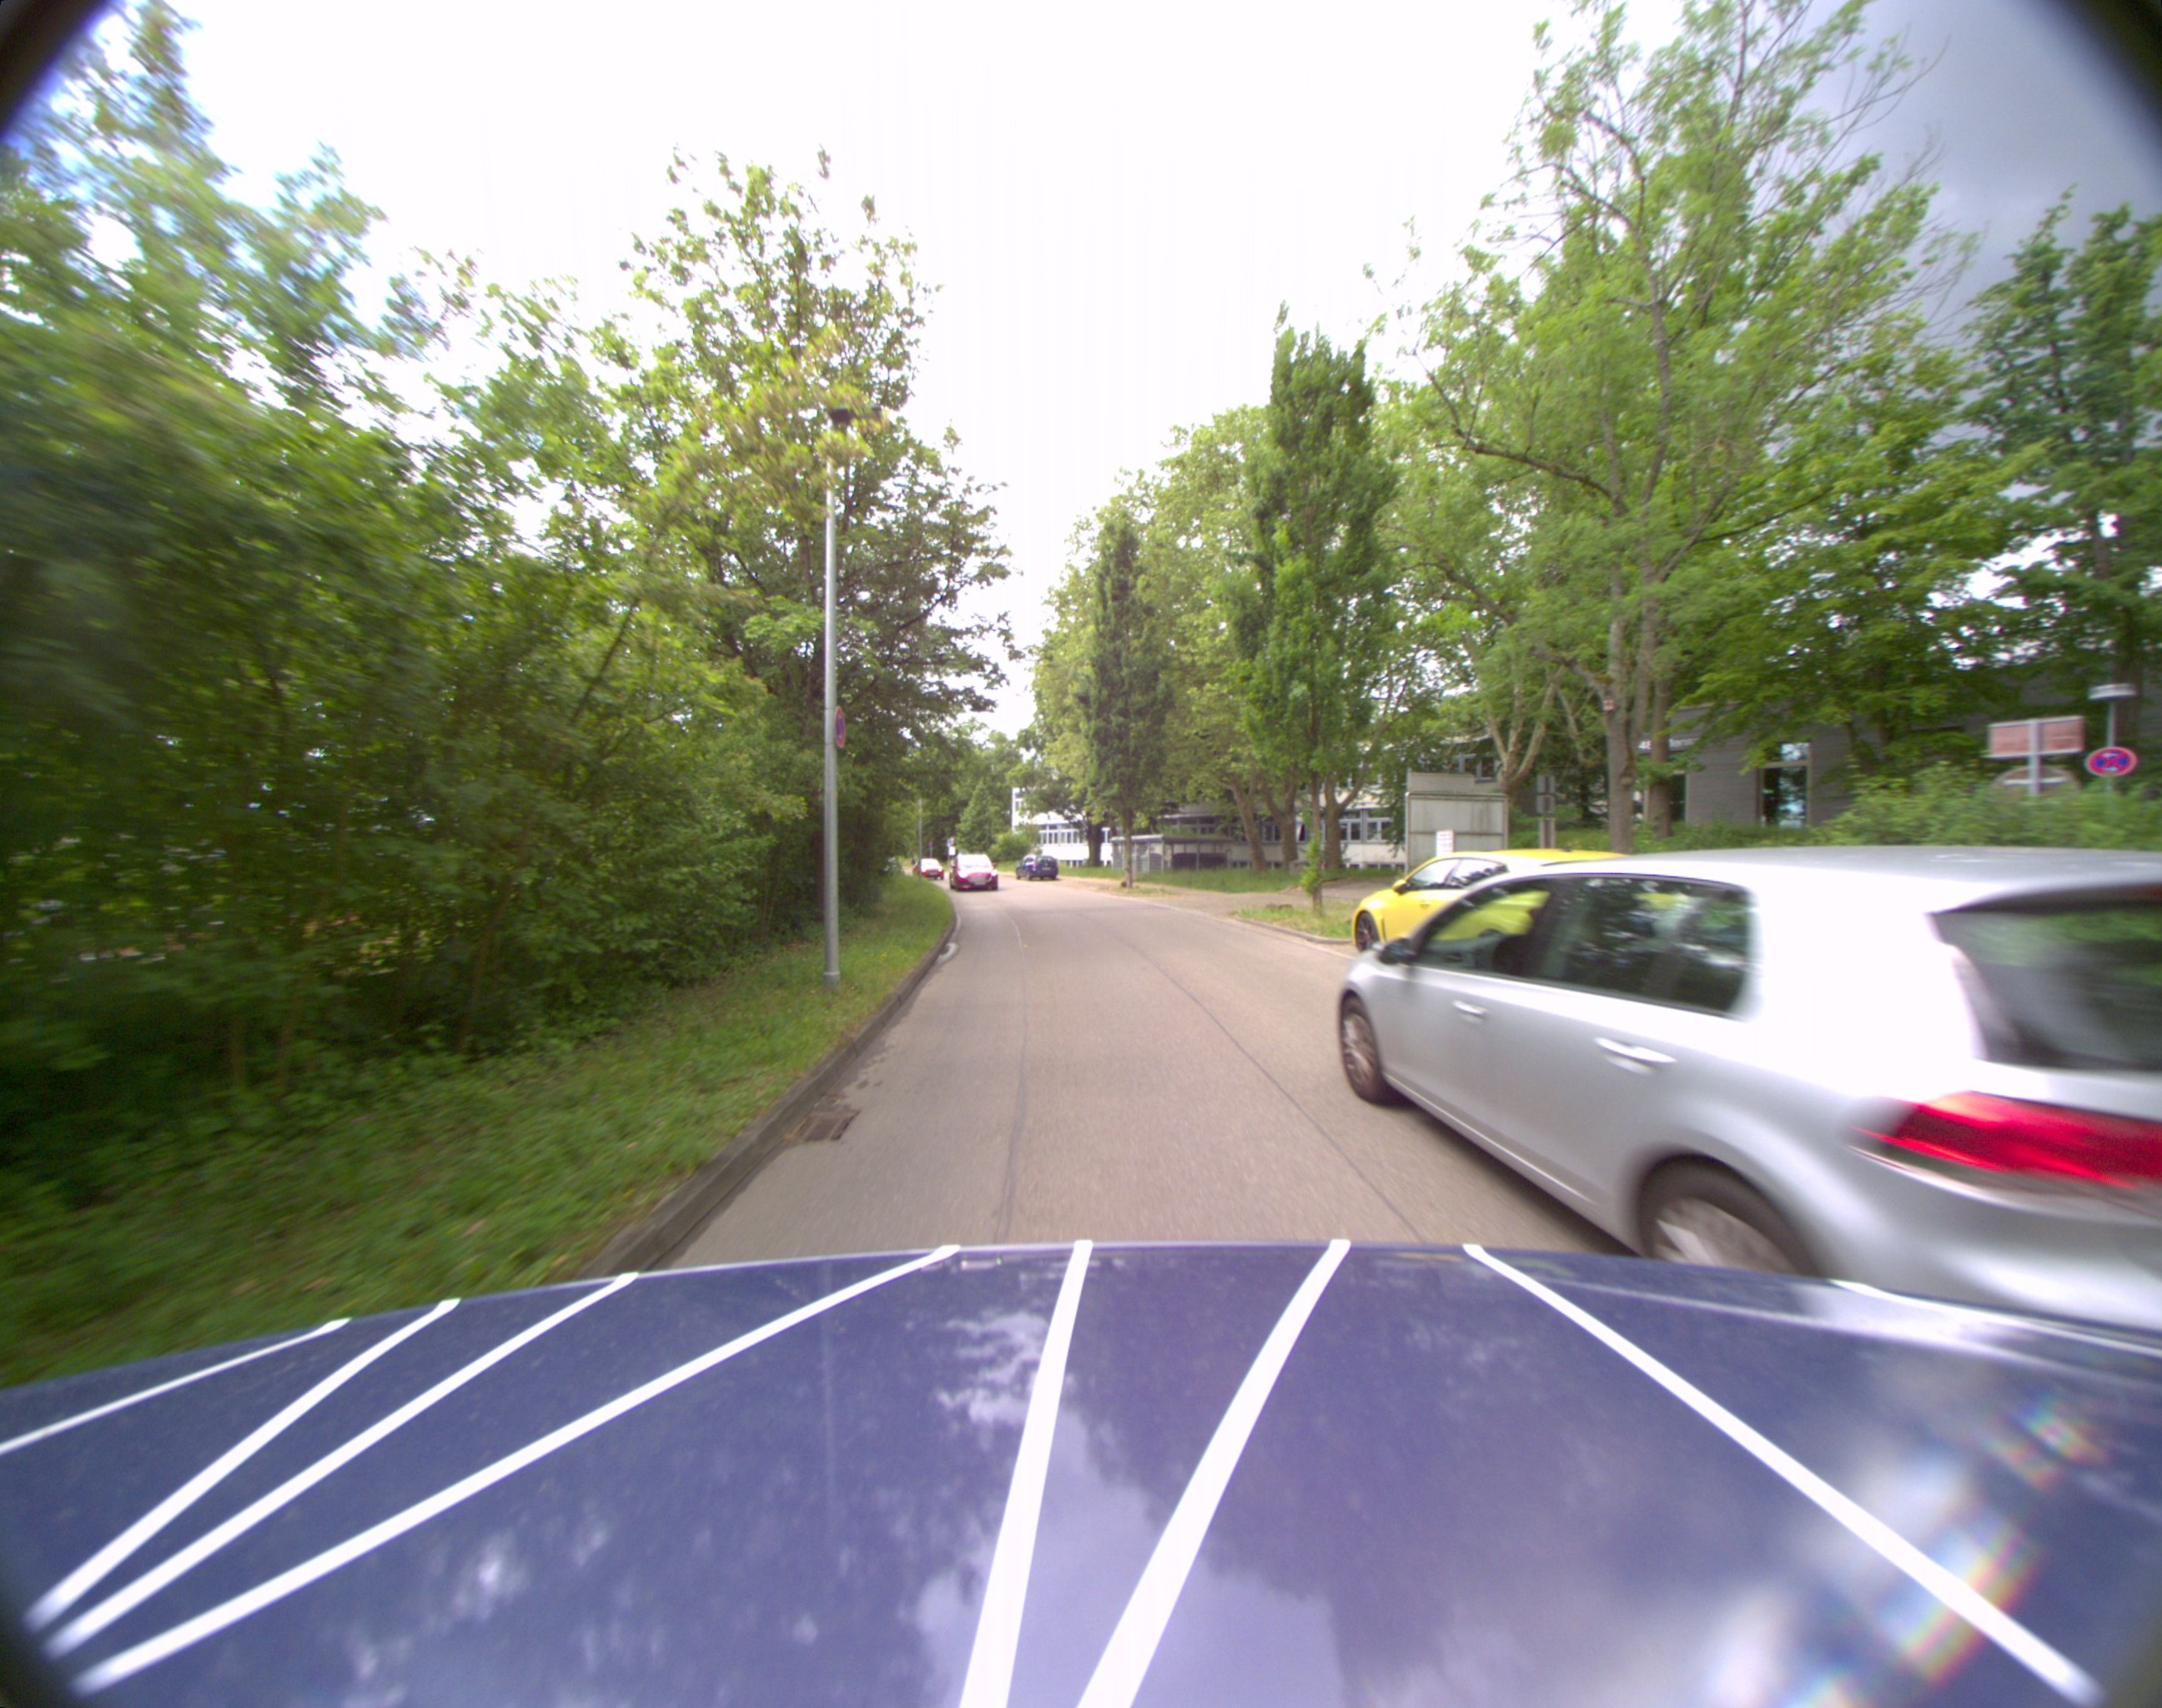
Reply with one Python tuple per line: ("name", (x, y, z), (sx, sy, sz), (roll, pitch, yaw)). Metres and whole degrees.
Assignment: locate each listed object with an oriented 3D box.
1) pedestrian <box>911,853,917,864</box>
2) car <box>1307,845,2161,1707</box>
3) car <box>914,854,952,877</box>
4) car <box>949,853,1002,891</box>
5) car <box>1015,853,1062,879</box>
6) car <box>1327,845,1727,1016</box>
("pedestrian", (-25.021, 0.713, 113.672), (0.763, 1.652, 0.807), (0, 0, -26))
("car", (2.411, 0.736, 3.110), (1.681, 1.454, 4.061), (-2, 0, -1))
("car", (-10.279, 0.782, 52.487), (2.002, 1.564, 3.993), (0, 0, -20))
("car", (-4.986, 0.797, 35.363), (1.863, 1.608, 4.470), (-2, 0, -15))
("car", (-2.640, 0.696, 45.834), (1.687, 1.503, 4.424), (-1, 0, -19))
("car", (4.487, 0.621, 8.555), (1.705, 1.395, 4.270), (-1, 1, -6))
